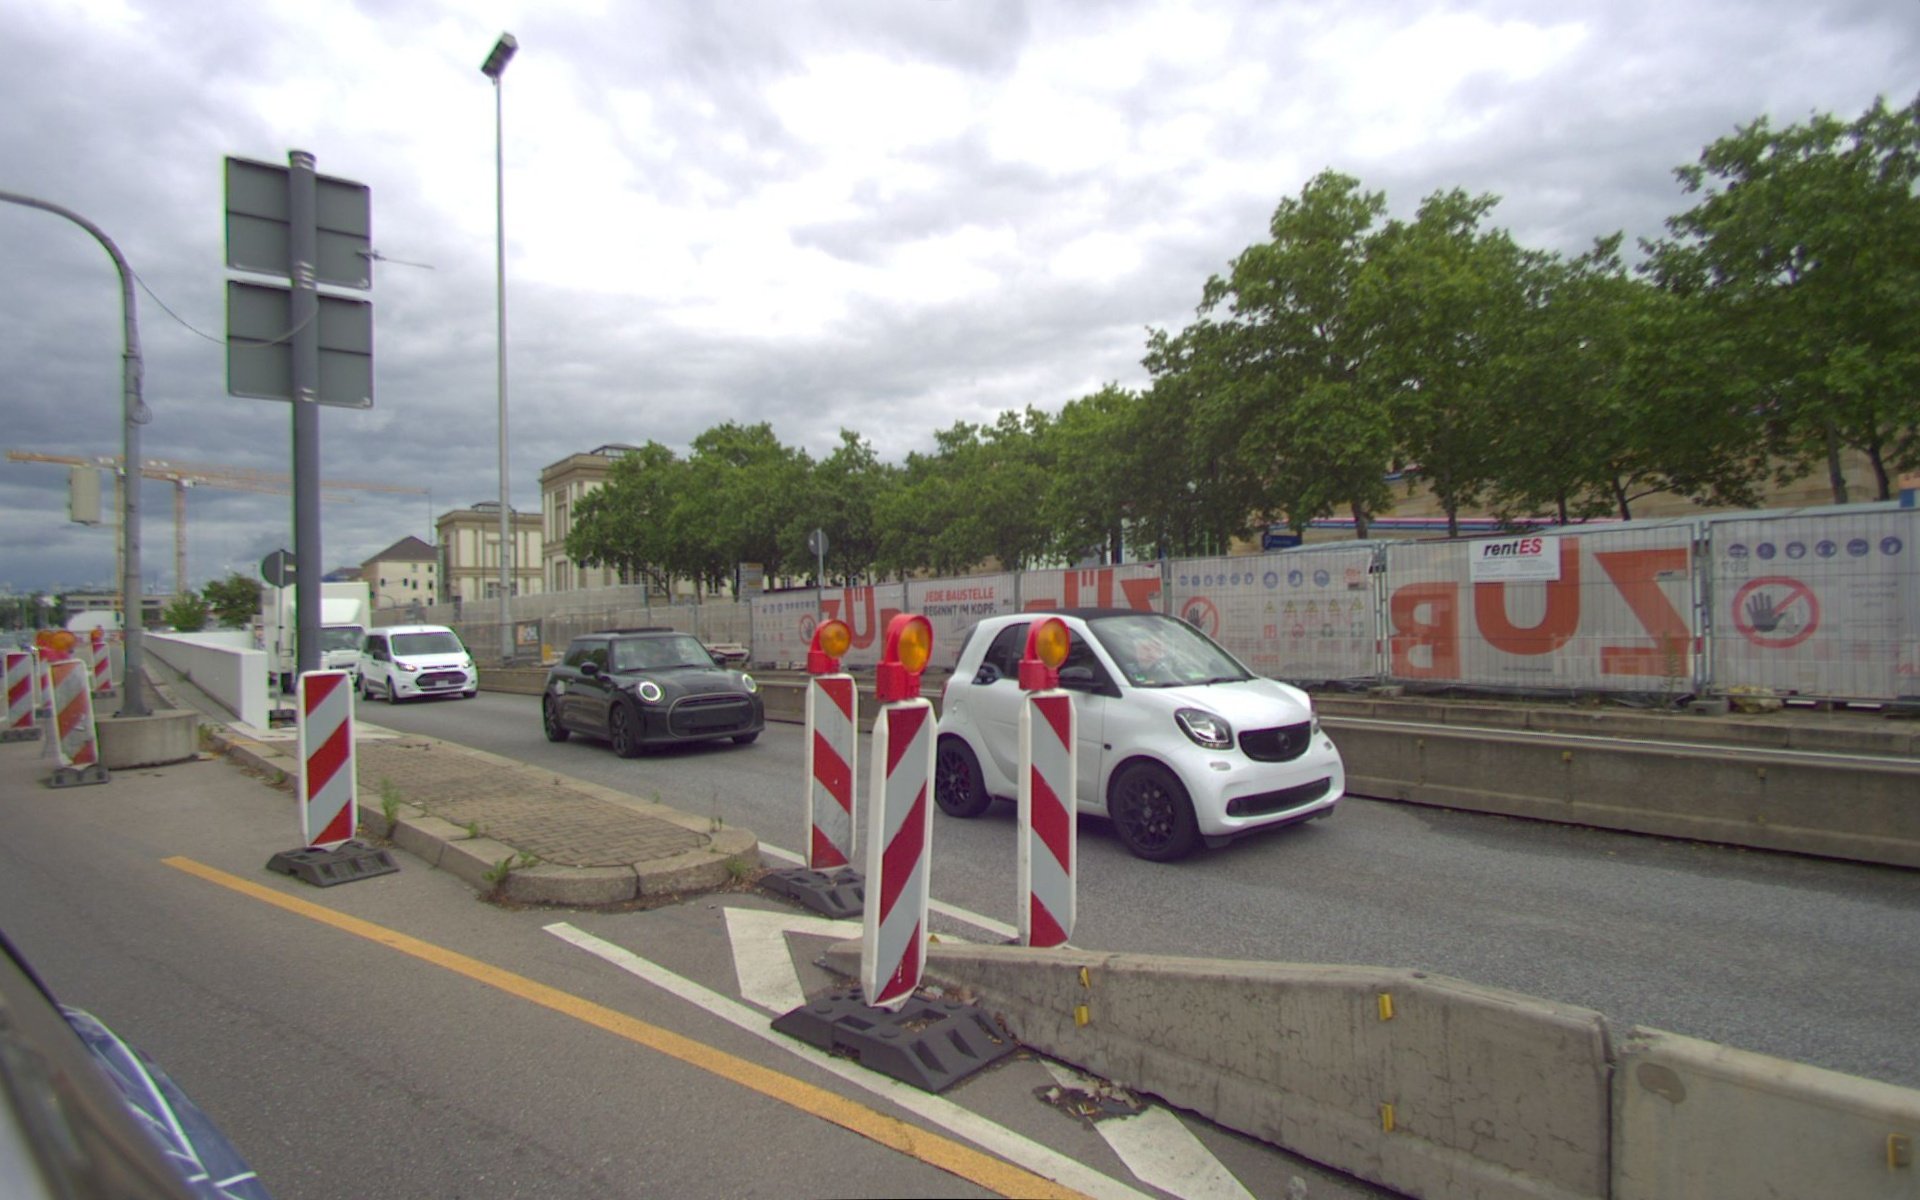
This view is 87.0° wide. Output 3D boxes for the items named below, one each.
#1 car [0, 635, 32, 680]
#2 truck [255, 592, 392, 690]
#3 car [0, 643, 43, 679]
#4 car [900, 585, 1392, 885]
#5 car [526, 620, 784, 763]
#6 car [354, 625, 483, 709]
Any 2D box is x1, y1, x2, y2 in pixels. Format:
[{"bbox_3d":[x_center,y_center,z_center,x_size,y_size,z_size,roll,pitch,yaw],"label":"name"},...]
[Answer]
[{"bbox_3d":[-33.320,1.970,35.057,1.588,1.484,3.627,-1,-1,-41],"label":"car"},{"bbox_3d":[-20.705,1.263,32.728,2.933,2.795,7.268,0,-1,-39],"label":"truck"},{"bbox_3d":[-42.659,2.739,45.824,1.588,1.484,3.627,-1,-1,-41],"label":"car"},{"bbox_3d":[1.149,0.750,7.080,1.610,1.566,3.007,-2,0,-40],"label":"car"},{"bbox_3d":[-3.963,1.027,12.751,1.627,1.449,3.941,-2,0,-40],"label":"car"},{"bbox_3d":[-12.997,1.522,24.143,1.815,1.774,4.487,0,-1,-40],"label":"car"}]
